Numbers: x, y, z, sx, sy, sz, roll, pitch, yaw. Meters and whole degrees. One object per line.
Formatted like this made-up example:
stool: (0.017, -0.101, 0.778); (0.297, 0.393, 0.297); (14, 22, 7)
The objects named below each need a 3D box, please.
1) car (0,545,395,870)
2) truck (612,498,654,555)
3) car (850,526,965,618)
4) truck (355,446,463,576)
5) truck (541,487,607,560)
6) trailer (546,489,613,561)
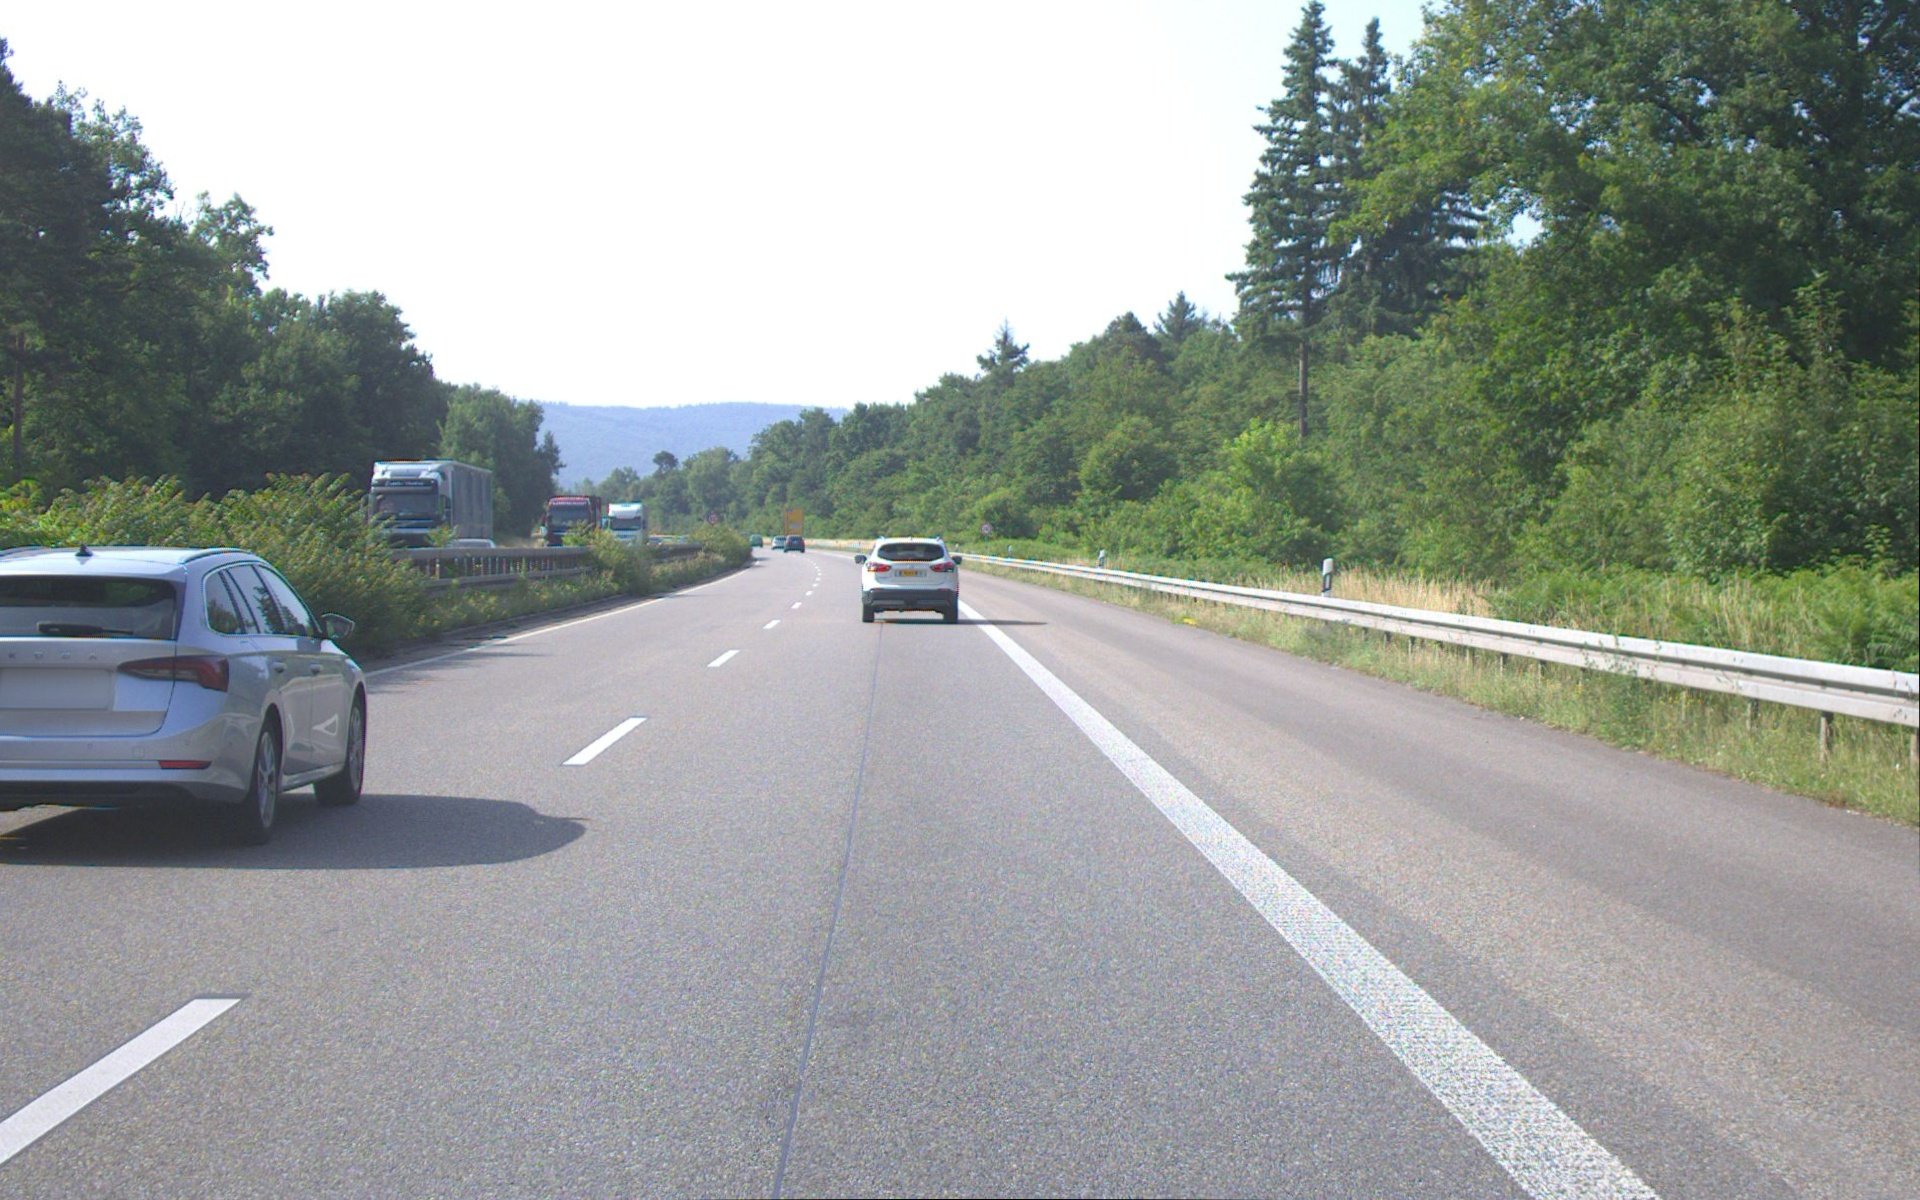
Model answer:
car: (-4.260, 0.450, 18.220); (1.792, 1.433, 5.279); (0, 1, -2)
truck: (-24.614, -5.528, 258.956); (2.837, 4.181, 5.547); (0, 1, -3)
car: (-1.020, -0.558, 64.634); (1.873, 1.581, 4.001); (2, 1, -4)
truck: (-18.340, -2.941, 114.772); (2.709, 4.186, 6.294); (-1, 1, -2)
truck: (-21.600, -4.286, 192.568); (3.266, 4.025, 6.234); (0, 1, -3)
trailer: (-21.852, -4.284, 197.697); (3.294, 4.025, 8.375); (1, 1, -3)
